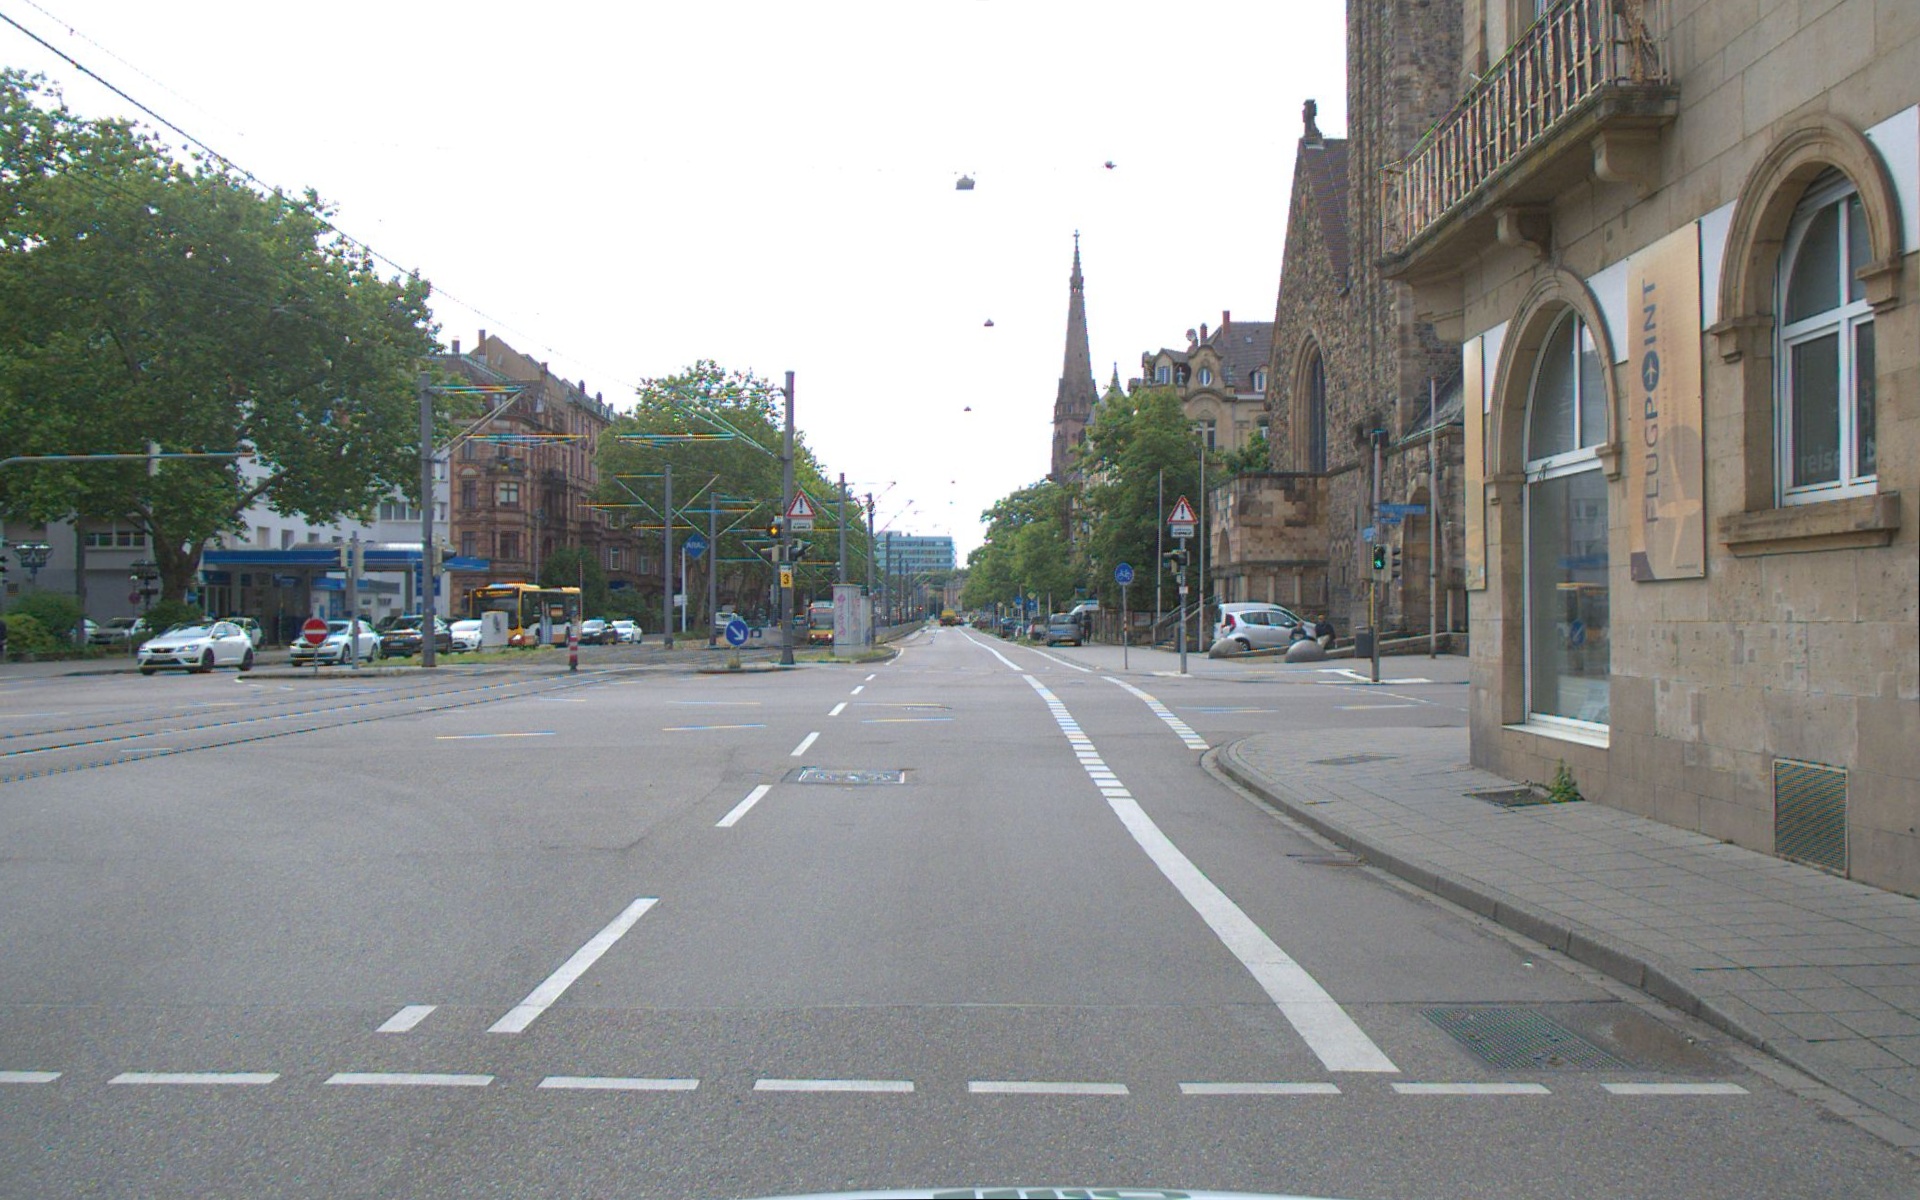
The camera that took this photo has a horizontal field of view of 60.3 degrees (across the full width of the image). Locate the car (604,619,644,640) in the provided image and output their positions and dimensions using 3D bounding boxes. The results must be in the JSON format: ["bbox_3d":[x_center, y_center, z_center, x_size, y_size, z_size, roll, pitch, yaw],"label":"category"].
[{"bbox_3d":[-20.836,1.827,102.555,1.667,1.242,3.890,1,0,0],"label":"car"}]

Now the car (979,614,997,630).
[{"bbox_3d":[3.430,2.715,203.743,1.953,1.959,3.999,1,0,-2],"label":"car"}]

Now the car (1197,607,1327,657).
[{"bbox_3d":[10.560,1.109,57.974,4.260,1.665,1.662,1,0,-1],"label":"car"}]

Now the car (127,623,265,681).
[{"bbox_3d":[-21.141,1.414,45.969,1.804,1.473,4.412,1,0,-1],"label":"car"}]

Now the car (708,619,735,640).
[{"bbox_3d":[-20.494,2.516,142.223,1.667,1.742,3.890,1,0,0],"label":"car"}]

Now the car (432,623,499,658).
[{"bbox_3d":[-21.156,1.711,70.886,1.667,1.422,3.890,1,0,0],"label":"car"}]

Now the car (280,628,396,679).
[{"bbox_3d":[-20.960,1.768,55.982,1.803,1.552,5.701,1,0,-1],"label":"car"}]

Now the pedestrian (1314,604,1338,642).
[{"bbox_3d":[12.081,0.756,54.595,0.721,1.250,1.063,1,0,14],"label":"pedestrian"}]

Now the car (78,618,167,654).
[{"bbox_3d":[-37.457,1.599,74.062,1.953,1.492,3.999,0,0,-1],"label":"car"}]

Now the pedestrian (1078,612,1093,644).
[{"bbox_3d":[6.761,1.515,89.144,0.760,1.676,0.799,1,0,5],"label":"pedestrian"}]

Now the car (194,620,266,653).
[{"bbox_3d":[-32.307,1.606,73.273,1.667,1.382,3.404,1,0,0],"label":"car"}]

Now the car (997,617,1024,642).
[{"bbox_3d":[3.929,2.264,129.230,1.953,1.852,3.999,0,0,-1],"label":"car"}]

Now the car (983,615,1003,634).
[{"bbox_3d":[3.668,2.690,183.912,1.953,2.049,3.999,1,0,-2],"label":"car"}]

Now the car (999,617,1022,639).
[{"bbox_3d":[4.757,2.605,155.679,1.953,2.049,3.999,1,0,-2],"label":"car"}]

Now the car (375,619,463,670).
[{"bbox_3d":[-20.853,1.679,63.987,1.667,1.814,5.149,1,0,0],"label":"car"}]

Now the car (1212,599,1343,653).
[{"bbox_3d":[11.782,0.966,61.506,4.516,1.914,1.662,1,0,-1],"label":"car"}]

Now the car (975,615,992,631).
[{"bbox_3d":[3.029,2.950,211.307,1.953,2.049,3.999,1,0,-2],"label":"car"}]

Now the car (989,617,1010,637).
[{"bbox_3d":[3.970,2.694,165.455,1.953,1.915,3.999,0,0,-1],"label":"car"}]

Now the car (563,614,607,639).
[{"bbox_3d":[-21.518,1.504,95.028,1.667,1.382,3.890,1,0,0],"label":"car"}]

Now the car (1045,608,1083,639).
[{"bbox_3d":[5.191,1.167,83.204,1.667,1.484,3.890,1,0,0],"label":"car"}]

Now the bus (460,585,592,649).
[{"bbox_3d":[-21.278,0.806,82.069,3.214,2.906,12.379,1,0,0],"label":"bus"}]

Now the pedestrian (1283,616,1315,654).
[{"bbox_3d":[11.115,1.123,54.211,0.721,1.212,1.493,1,0,0],"label":"pedestrian"}]

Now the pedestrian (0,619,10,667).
[{"bbox_3d":[-27.165,1.221,46.699,0.446,1.349,0.469,0,0,-7],"label":"pedestrian"}]
